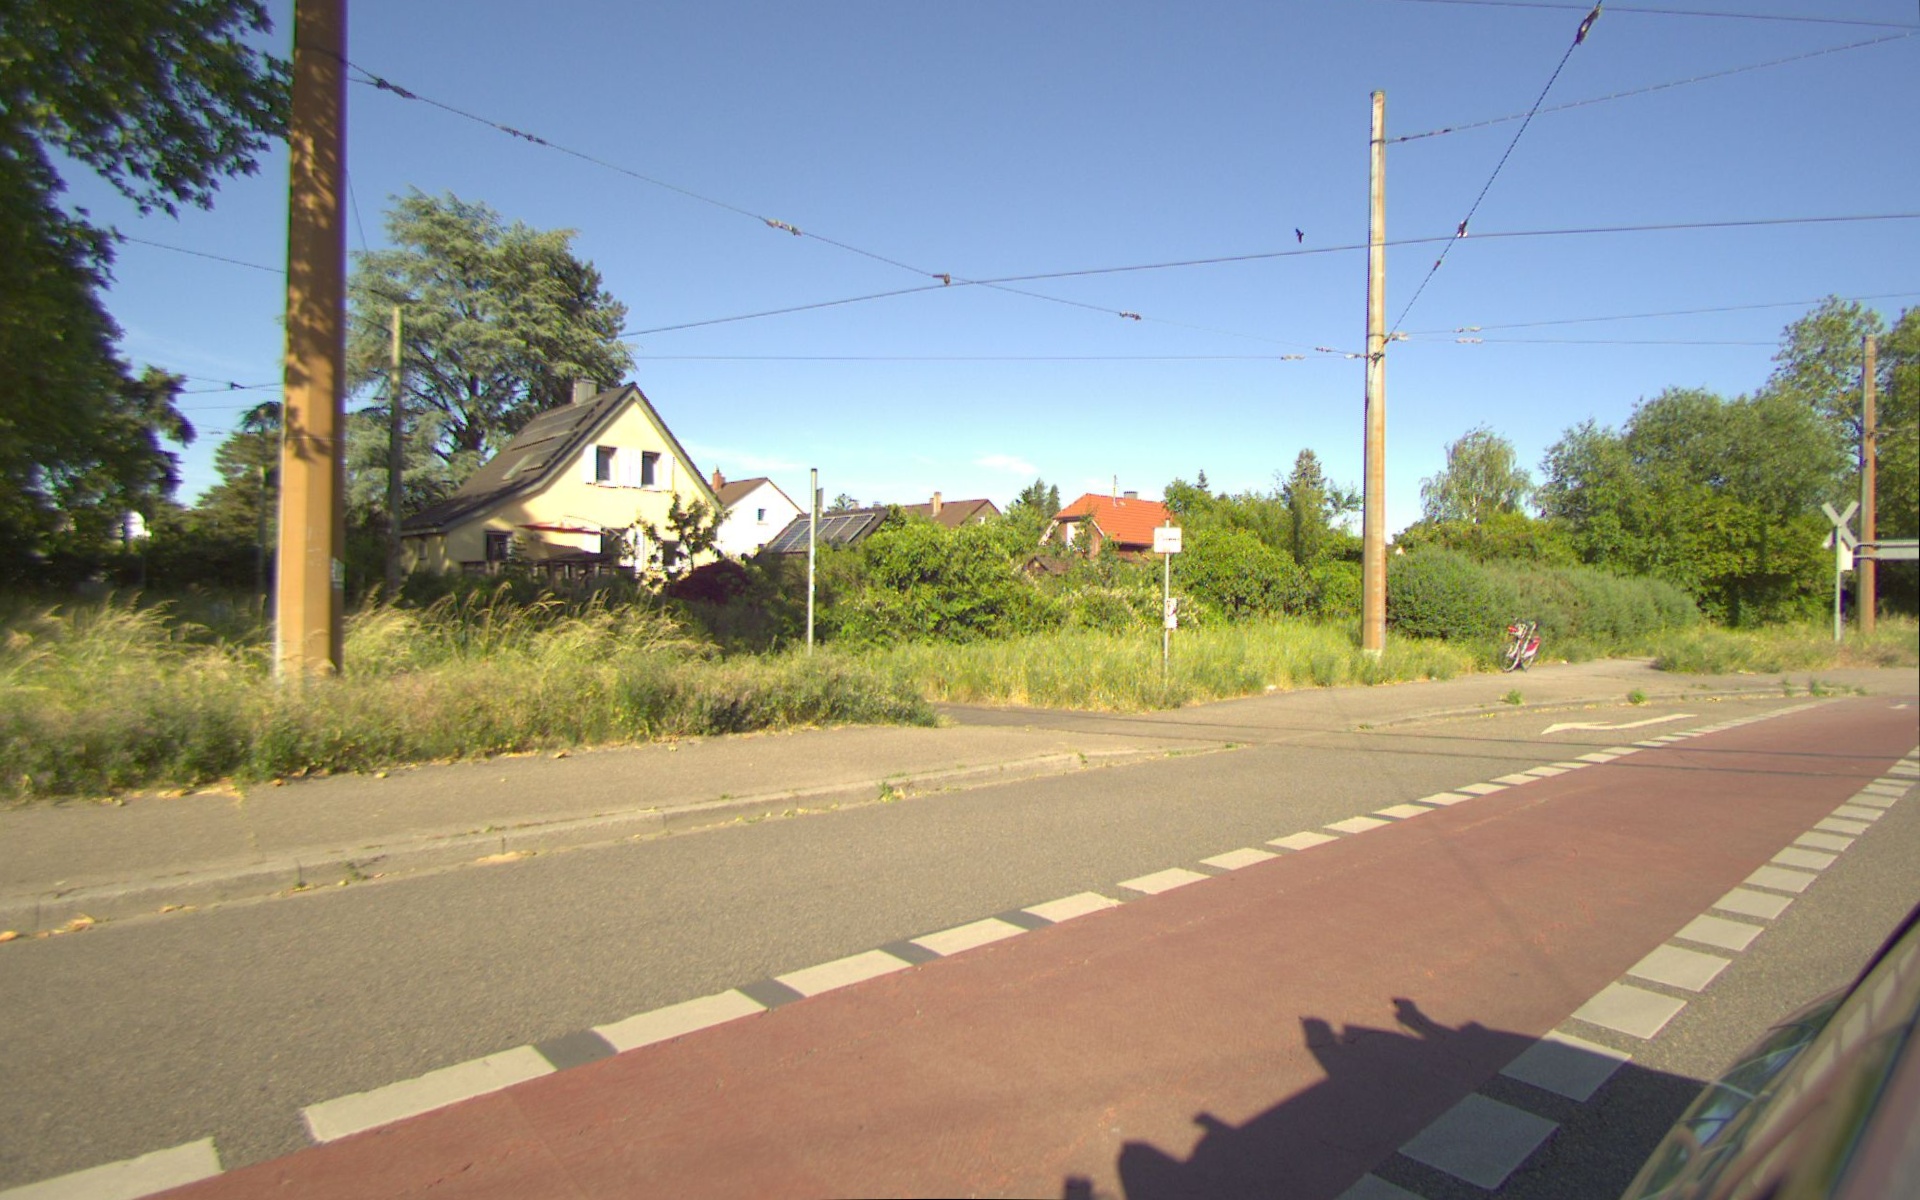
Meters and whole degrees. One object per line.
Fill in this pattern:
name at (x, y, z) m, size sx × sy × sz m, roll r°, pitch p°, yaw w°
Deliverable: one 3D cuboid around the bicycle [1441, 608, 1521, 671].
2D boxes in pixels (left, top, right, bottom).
bicycle at (10.035, 0.746, 19.461) m, size 2.055 × 1.149 × 0.366 m, roll 1°, pitch 0°, yaw -33°
